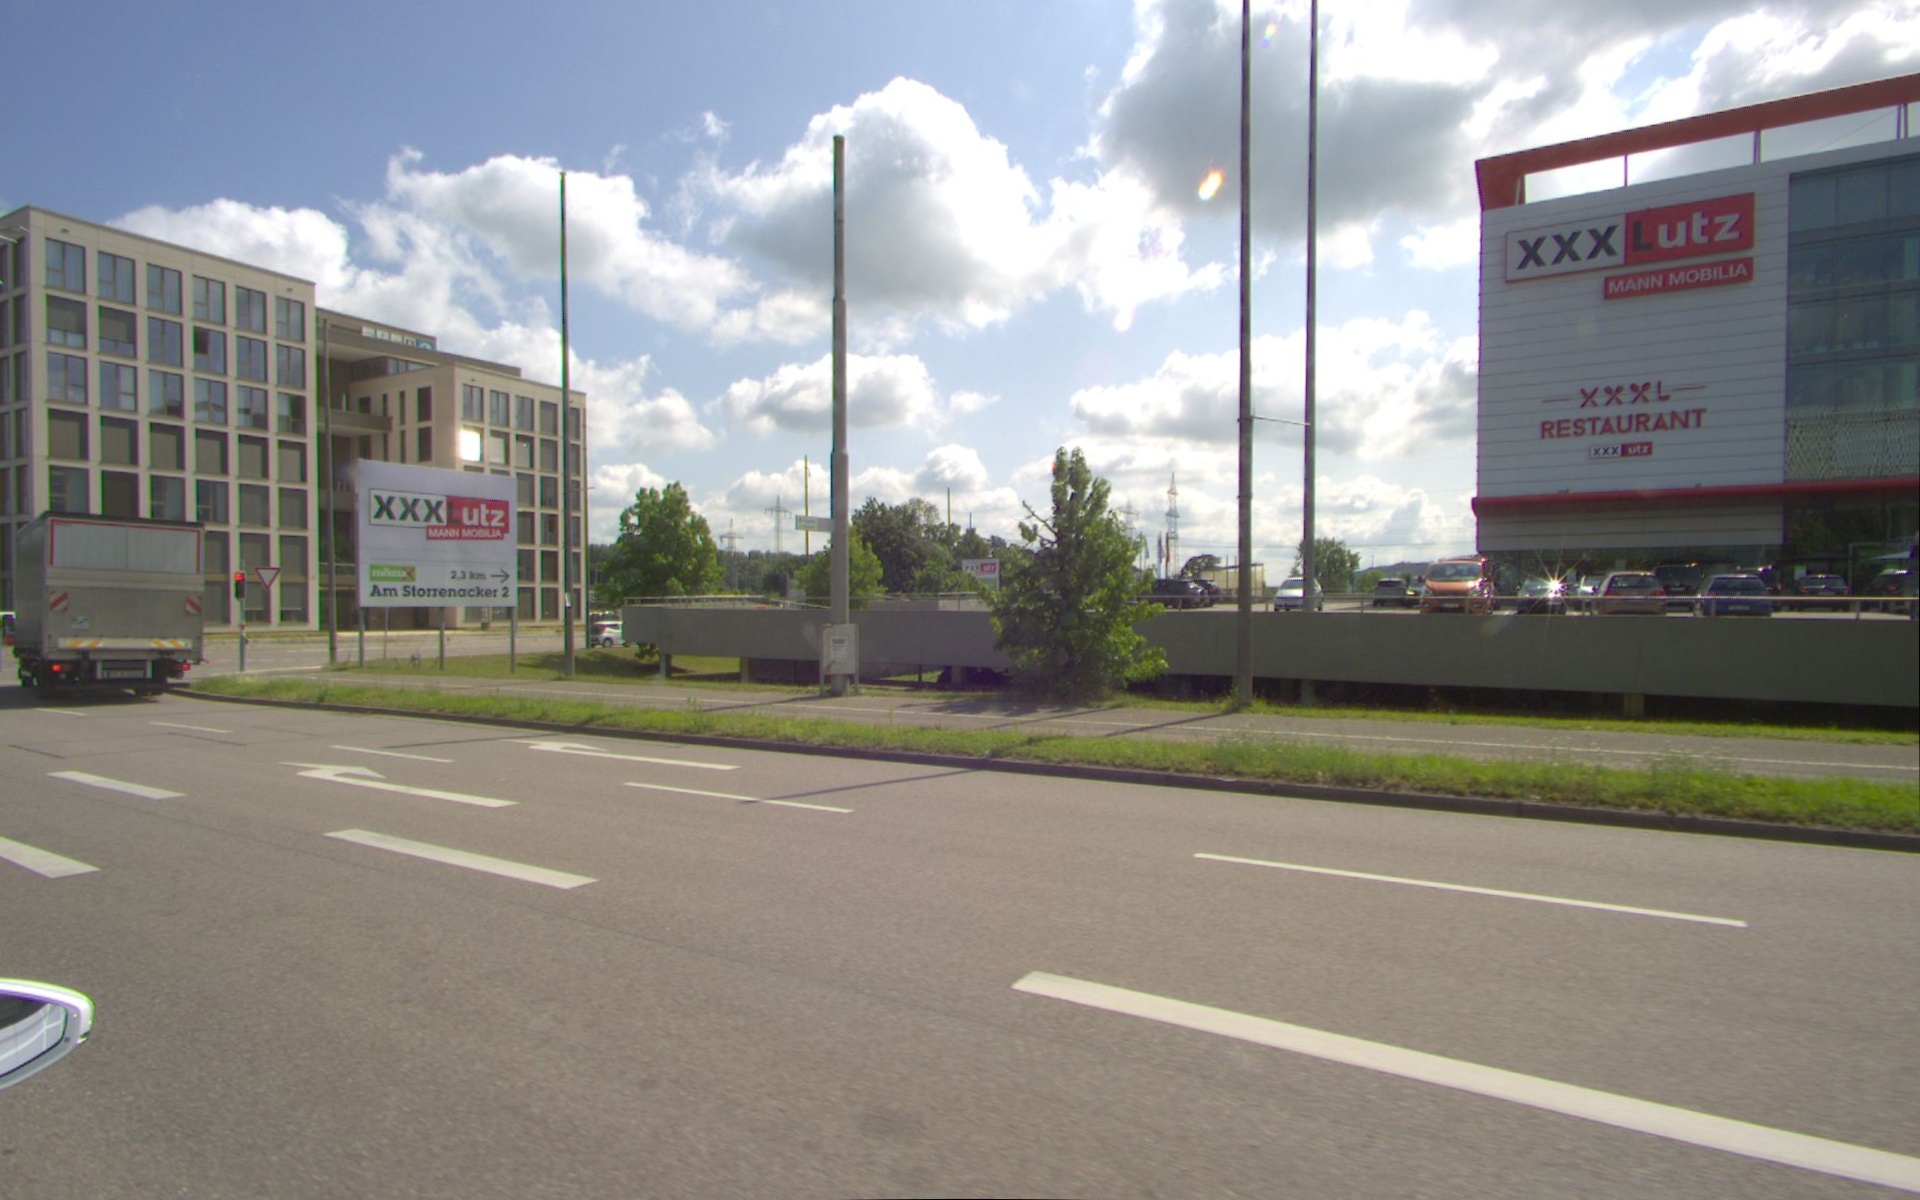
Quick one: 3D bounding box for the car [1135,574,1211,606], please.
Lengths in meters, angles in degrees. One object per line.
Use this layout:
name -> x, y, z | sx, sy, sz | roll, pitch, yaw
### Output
car -> 12.242, -0.551, 57.555 | 3.937, 1.751, 1.957 | 1, -1, 28

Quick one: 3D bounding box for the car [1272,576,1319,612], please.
car -> 15.747, -0.257, 46.846 | 1.608, 1.596, 3.897 | 1, -1, 26

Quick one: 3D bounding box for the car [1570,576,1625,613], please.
car -> 28.459, -0.211, 44.818 | 1.971, 1.563, 3.981 | 1, -1, 31

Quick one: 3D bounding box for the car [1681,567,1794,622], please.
car -> 23.567, -0.097, 30.535 | 1.956, 1.503, 4.863 | -1, -1, 29

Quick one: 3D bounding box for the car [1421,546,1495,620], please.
car -> 16.967, -0.484, 33.979 | 1.957, 2.223, 5.156 | -1, -2, 30

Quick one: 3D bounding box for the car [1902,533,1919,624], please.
car -> 25.489, -0.622, 24.599 | 2.030, 2.396, 5.654 | -1, -1, 29

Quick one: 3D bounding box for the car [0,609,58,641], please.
car -> -45.830, 1.167, 47.713 | 1.768, 1.509, 3.888 | 1, -1, 32

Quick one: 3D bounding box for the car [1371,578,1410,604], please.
car -> 25.159, -0.498, 58.478 | 1.683, 1.438, 3.893 | 1, -1, 29

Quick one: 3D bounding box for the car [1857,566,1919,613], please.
car -> 36.975, -0.382, 39.390 | 1.723, 1.728, 3.737 | 1, -1, 30

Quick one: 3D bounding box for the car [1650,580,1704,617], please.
car -> 30.604, -0.060, 42.804 | 1.561, 1.484, 3.520 | 1, -1, 31

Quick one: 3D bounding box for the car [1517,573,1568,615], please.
car -> 23.491, -0.200, 40.499 | 1.609, 1.596, 3.894 | 1, -1, 28

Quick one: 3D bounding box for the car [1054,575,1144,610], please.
car -> 6.553, -0.339, 47.287 | 3.807, 1.541, 1.869 | 1, -1, 28

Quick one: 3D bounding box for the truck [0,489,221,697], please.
truck -> -20.009, -0.040, 23.325 | 8.765, 3.991, 3.112 | -1, -1, 44

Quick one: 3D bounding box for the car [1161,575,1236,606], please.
car -> 14.159, -0.557, 59.511 | 3.937, 1.751, 1.993 | 1, -1, 28

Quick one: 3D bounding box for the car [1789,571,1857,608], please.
car -> 35.209, -0.404, 40.935 | 1.529, 1.388, 3.432 | 1, -1, 31

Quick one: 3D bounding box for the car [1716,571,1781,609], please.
car -> 32.720, -0.387, 41.648 | 1.611, 1.461, 3.891 | 1, -1, 31

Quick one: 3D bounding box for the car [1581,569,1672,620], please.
car -> 20.928, -0.106, 31.627 | 1.956, 1.472, 4.863 | -1, -1, 29

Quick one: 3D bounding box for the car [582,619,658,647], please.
car -> -19.053, 1.825, 56.211 | 1.671, 1.485, 3.844 | 1, -1, 32

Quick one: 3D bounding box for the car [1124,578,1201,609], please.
car -> 11.202, -0.358, 55.437 | 3.807, 1.621, 1.742 | 1, -1, 28

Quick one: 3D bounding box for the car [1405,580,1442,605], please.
car -> 24.490, -0.362, 52.837 | 1.668, 1.199, 3.896 | 1, -1, 26

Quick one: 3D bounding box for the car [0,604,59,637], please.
car -> -48.887, 1.025, 50.325 | 1.970, 1.628, 4.977 | 1, -1, 30
